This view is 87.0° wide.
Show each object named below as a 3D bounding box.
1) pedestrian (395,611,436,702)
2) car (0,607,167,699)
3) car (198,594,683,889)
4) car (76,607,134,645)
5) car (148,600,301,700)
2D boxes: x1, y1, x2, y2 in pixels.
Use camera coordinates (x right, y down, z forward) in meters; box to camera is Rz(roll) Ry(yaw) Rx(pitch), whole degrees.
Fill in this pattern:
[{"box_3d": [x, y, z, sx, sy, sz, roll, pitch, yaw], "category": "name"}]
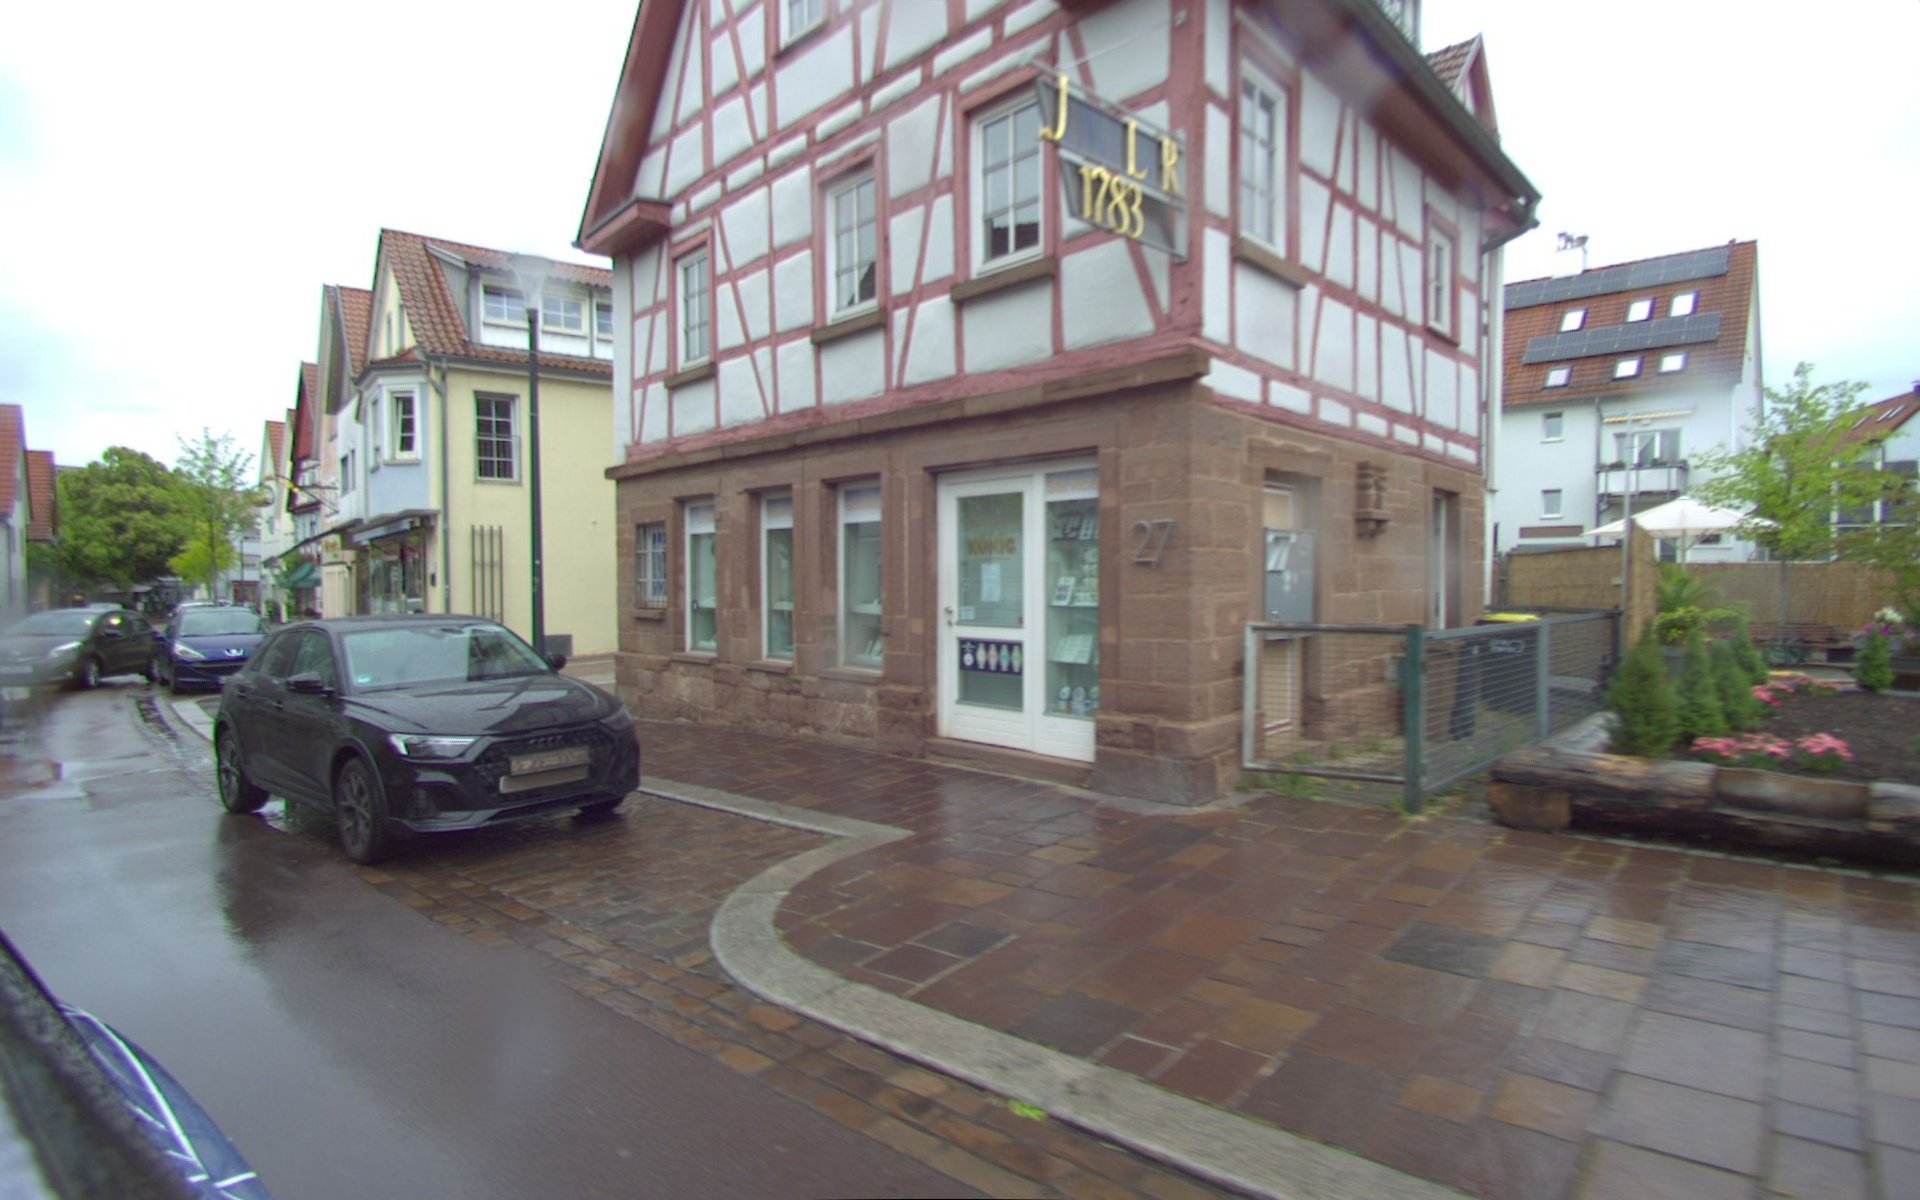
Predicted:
[{"box_3d": [-8.157, 0.833, 15.161, 0.448, 1.317, 0.518, 0, 0, -39], "category": "pedestrian"}, {"box_3d": [-16.915, 0.927, 19.204, 1.708, 1.567, 3.856, -1, 0, -18], "category": "car"}, {"box_3d": [-3.906, 0.773, 7.312, 3.997, 1.497, 1.673, -1, 2, 40], "category": "car"}, {"box_3d": [-42.245, 1.268, 50.067, 1.967, 1.763, 4.009, -1, 0, -37], "category": "car"}, {"box_3d": [-13.853, 0.856, 18.973, 1.969, 1.540, 4.006, -4, 2, -40], "category": "car"}]
